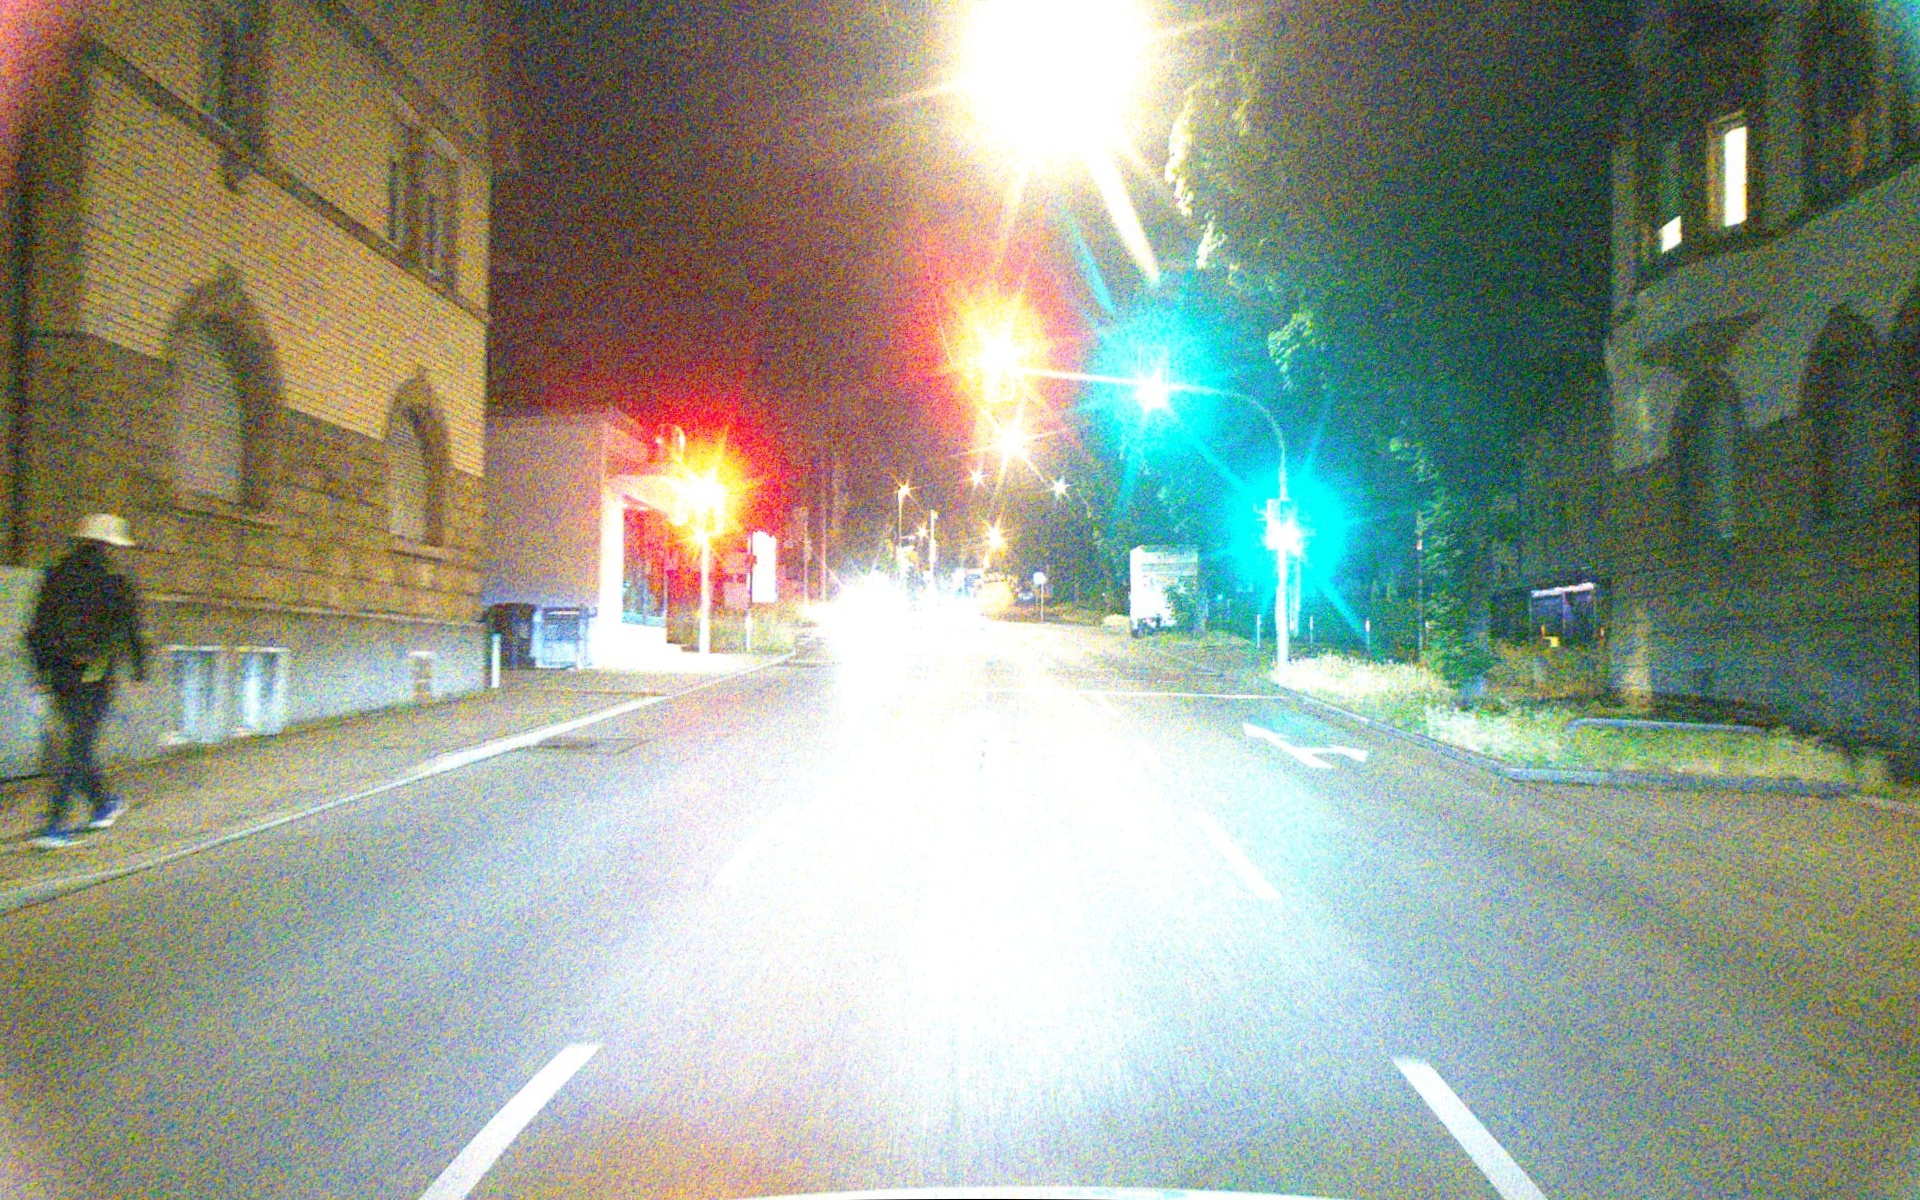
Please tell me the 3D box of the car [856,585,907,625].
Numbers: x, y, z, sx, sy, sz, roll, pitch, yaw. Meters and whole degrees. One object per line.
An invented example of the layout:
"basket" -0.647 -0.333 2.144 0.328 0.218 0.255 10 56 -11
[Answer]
"car" -3.208 0.194 68.145 1.819 1.561 4.028 1 0 1

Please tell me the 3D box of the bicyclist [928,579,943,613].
"bicyclist" -1.177 -0.195 81.066 0.676 1.666 0.896 1 0 1

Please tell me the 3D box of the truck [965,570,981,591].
"truck" 1.808 -2.692 231.303 2.044 2.897 5.831 1 0 0

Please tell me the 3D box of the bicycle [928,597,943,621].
"bicycle" -1.192 0.425 81.034 0.682 1.169 1.951 1 0 1

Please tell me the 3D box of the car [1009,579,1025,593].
"car" 6.230 -1.497 180.840 1.600 1.477 3.485 1 0 1

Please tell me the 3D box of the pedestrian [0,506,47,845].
"pedestrian" -5.390 0.392 8.519 0.727 1.776 1.103 1 0 0

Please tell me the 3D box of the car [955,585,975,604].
"car" 0.515 -0.537 156.299 1.777 1.713 4.001 1 0 1

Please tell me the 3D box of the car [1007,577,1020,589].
"car" 6.923 -2.166 213.061 1.600 1.477 3.485 1 0 1

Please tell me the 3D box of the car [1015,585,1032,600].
"car" 6.362 -0.719 164.772 1.600 1.477 3.485 1 0 1

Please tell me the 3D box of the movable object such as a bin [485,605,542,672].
"movable object such as a bin" -7.343 0.628 27.206 0.625 1.067 0.654 1 0 19

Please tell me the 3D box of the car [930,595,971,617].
"car" -0.692 0.384 114.107 1.883 1.413 4.568 1 0 -13

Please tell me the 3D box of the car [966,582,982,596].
"car" 1.536 -1.222 182.256 1.778 1.517 4.000 1 0 0

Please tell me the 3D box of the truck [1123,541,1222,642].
"truck" 7.119 -0.297 56.098 2.692 3.165 6.260 1 0 2

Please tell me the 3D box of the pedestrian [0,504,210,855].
"pedestrian" -4.642 0.405 8.946 0.661 1.776 1.029 1 0 0
